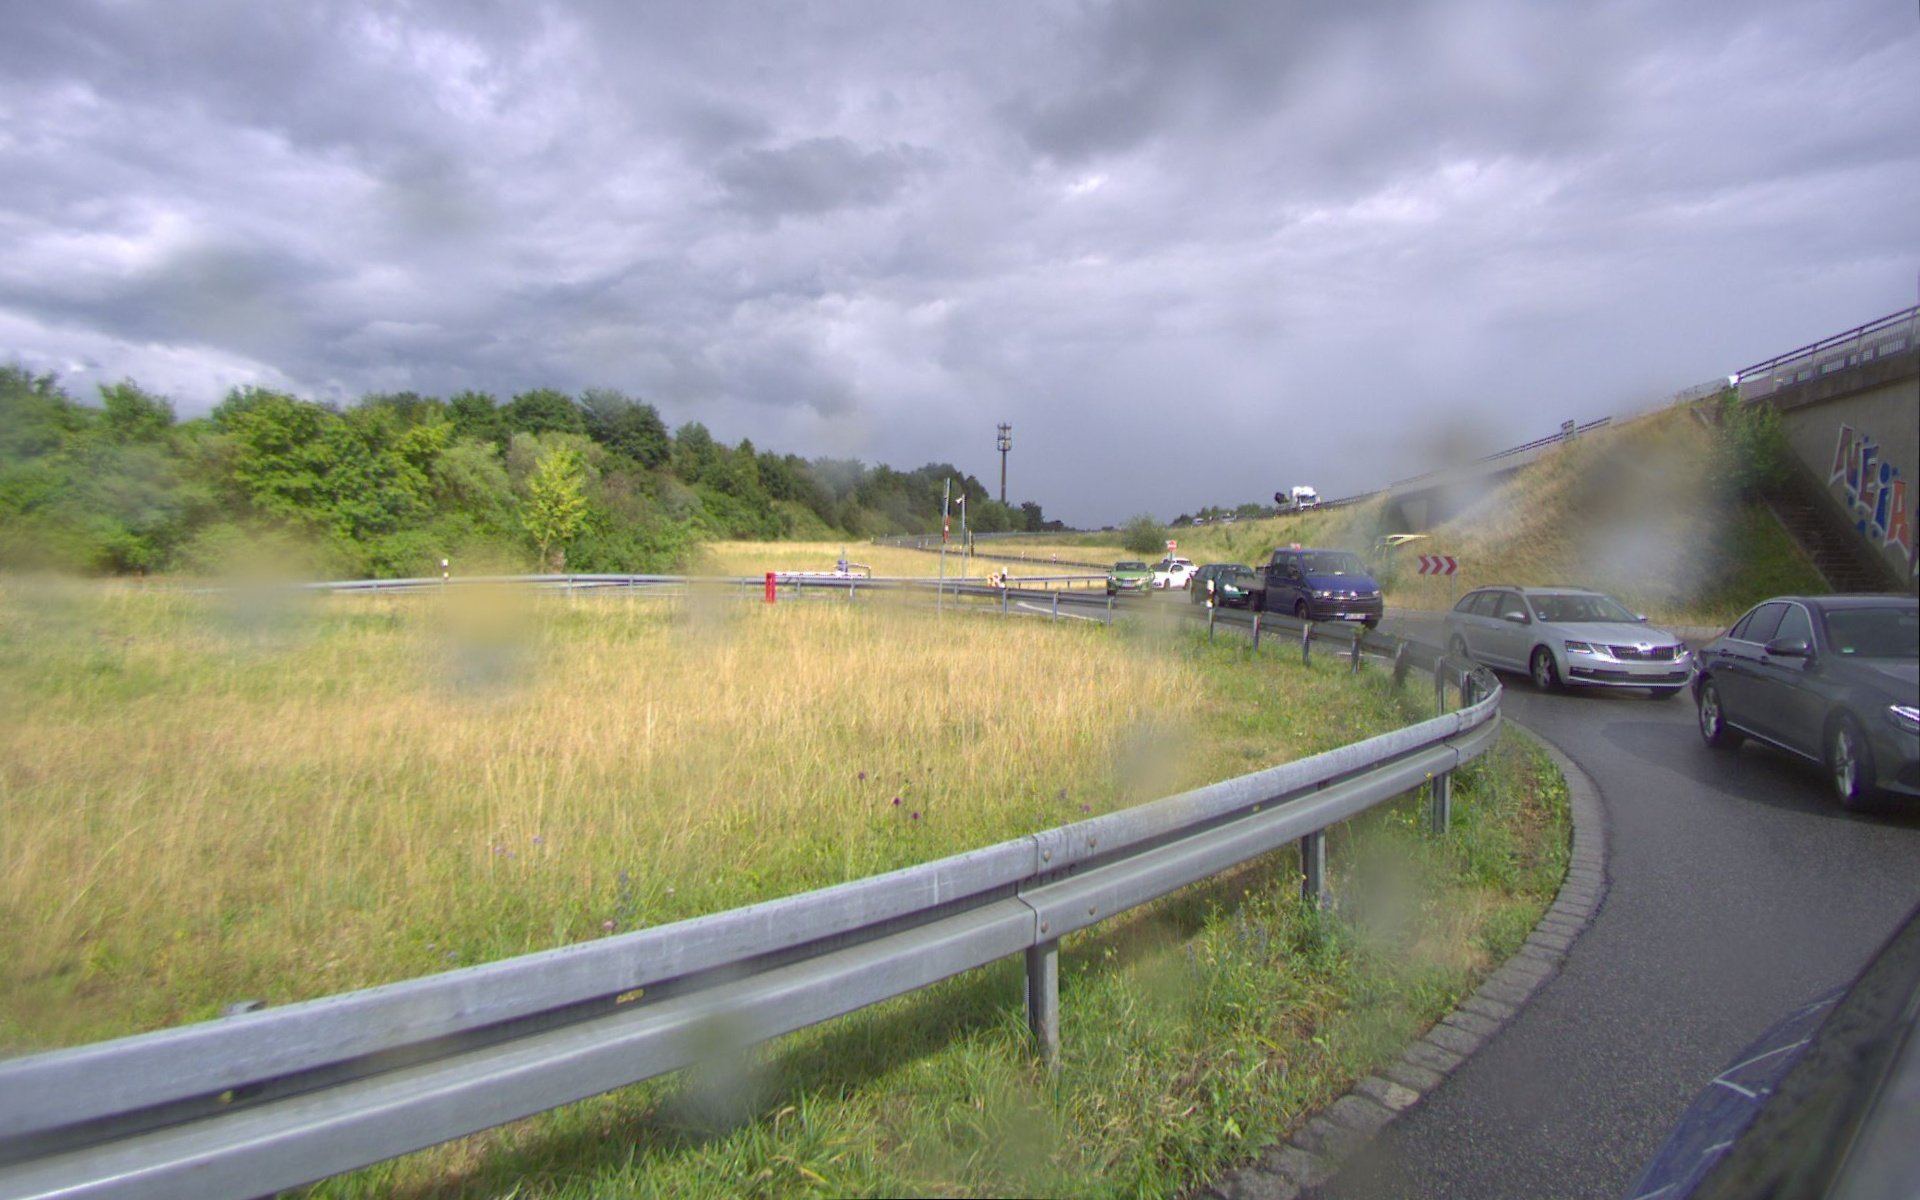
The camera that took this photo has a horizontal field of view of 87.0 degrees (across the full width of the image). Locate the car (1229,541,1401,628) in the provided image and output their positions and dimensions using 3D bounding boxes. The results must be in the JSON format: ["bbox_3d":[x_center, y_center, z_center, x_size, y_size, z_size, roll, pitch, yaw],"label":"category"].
[{"bbox_3d":[8.998,-0.517,26.309,1.855,1.937,5.694,0,4,-7],"label":"car"}]

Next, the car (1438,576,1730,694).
[{"bbox_3d":[8.970,0.391,15.067,1.765,1.415,4.348,0,2,2],"label":"car"}]

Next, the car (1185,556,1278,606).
[{"bbox_3d":[8.822,-0.681,33.172,1.624,1.492,3.853,0,3,-6],"label":"car"}]

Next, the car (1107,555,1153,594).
[{"bbox_3d":[6.991,-1.096,41.995,1.590,1.492,3.842,1,3,6],"label":"car"}]

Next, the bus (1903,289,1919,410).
[{"bbox_3d":[25.064,-6.259,19.962,2.574,3.116,14.414,0,3,13],"label":"bus"}]

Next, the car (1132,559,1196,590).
[{"bbox_3d":[10.431,-1.319,51.614,1.610,1.492,3.877,3,4,38],"label":"car"}]

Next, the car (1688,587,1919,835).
[{"bbox_3d":[7.359,0.658,7.829,1.751,1.408,4.557,1,2,22],"label":"car"}]

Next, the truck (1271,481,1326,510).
[{"bbox_3d":[42.433,-13.041,127.153,3.098,3.232,9.294,-1,3,-5],"label":"truck"}]

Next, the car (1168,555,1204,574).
[{"bbox_3d":[16.776,-2.674,75.217,1.678,1.305,3.778,0,3,-2],"label":"car"}]
